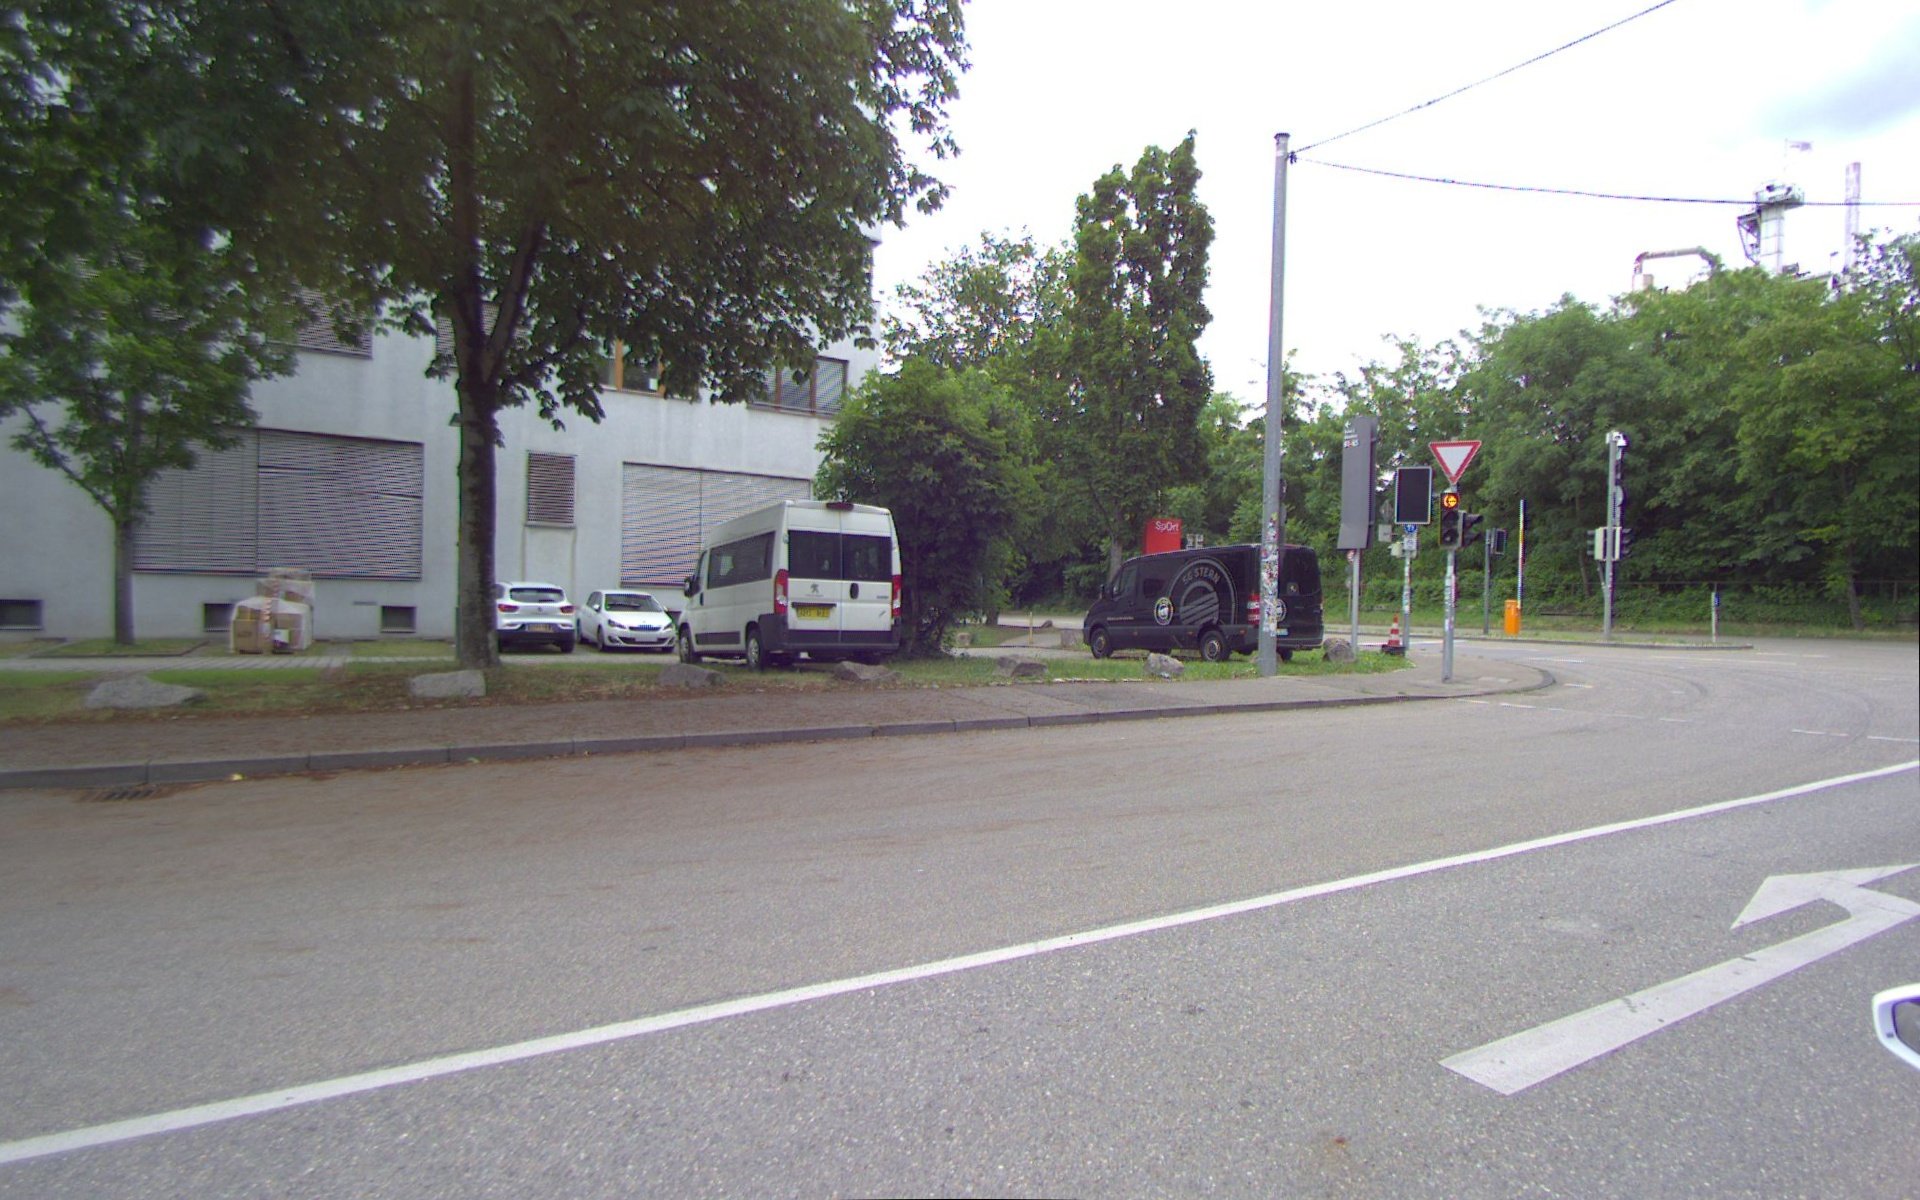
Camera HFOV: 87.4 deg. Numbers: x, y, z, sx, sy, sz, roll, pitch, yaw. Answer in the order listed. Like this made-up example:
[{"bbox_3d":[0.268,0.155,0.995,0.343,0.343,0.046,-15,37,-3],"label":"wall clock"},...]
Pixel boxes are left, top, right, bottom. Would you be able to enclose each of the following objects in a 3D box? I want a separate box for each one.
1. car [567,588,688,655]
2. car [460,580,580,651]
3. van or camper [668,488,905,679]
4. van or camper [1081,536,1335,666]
[{"bbox_3d":[-8.527,0.518,25.564,1.881,1.475,3.972,3,0,-34],"label":"car"},{"bbox_3d":[-10.573,0.330,23.979,1.881,1.475,3.972,3,0,-34],"label":"car"},{"bbox_3d":[-3.017,-0.247,16.428,2.039,2.604,4.943,3,0,-32],"label":"van or camper"},{"bbox_3d":[5.009,0.120,21.260,2.036,2.343,5.513,3,-3,-28],"label":"van or camper"}]
